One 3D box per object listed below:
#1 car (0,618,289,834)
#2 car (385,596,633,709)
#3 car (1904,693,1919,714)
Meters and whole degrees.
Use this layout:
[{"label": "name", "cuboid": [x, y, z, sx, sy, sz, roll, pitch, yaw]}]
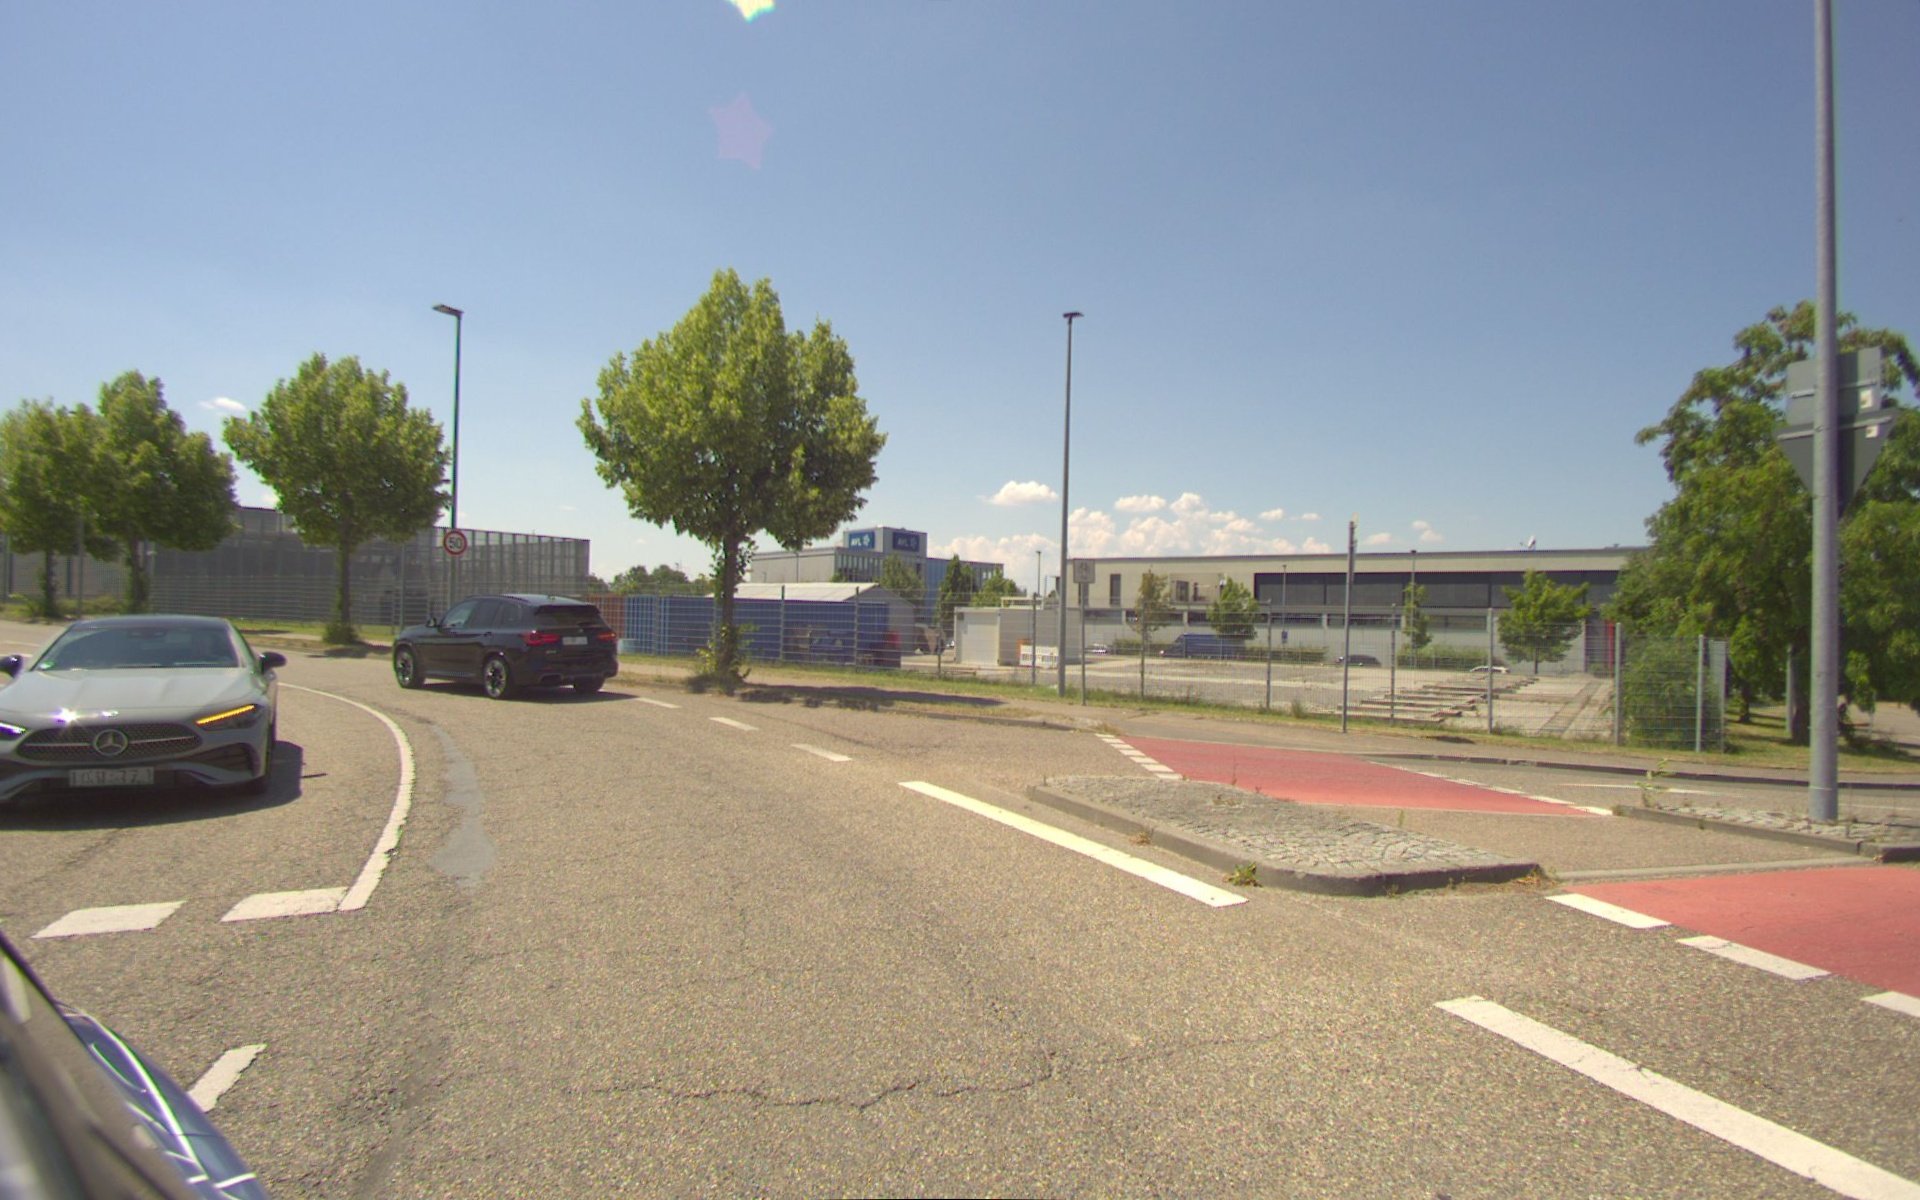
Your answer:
[{"label": "car", "cuboid": [-7.138, 0.877, 8.995, 1.866, 1.394, 4.646, 1, -1, -33]}, {"label": "car", "cuboid": [-7.858, 0.810, 17.465, 4.590, 1.647, 1.847, 1, 0, 36]}, {"label": "car", "cuboid": [67.617, 7.149, 69.664, 3.515, 1.365, 1.522, -2, -4, 31]}]
